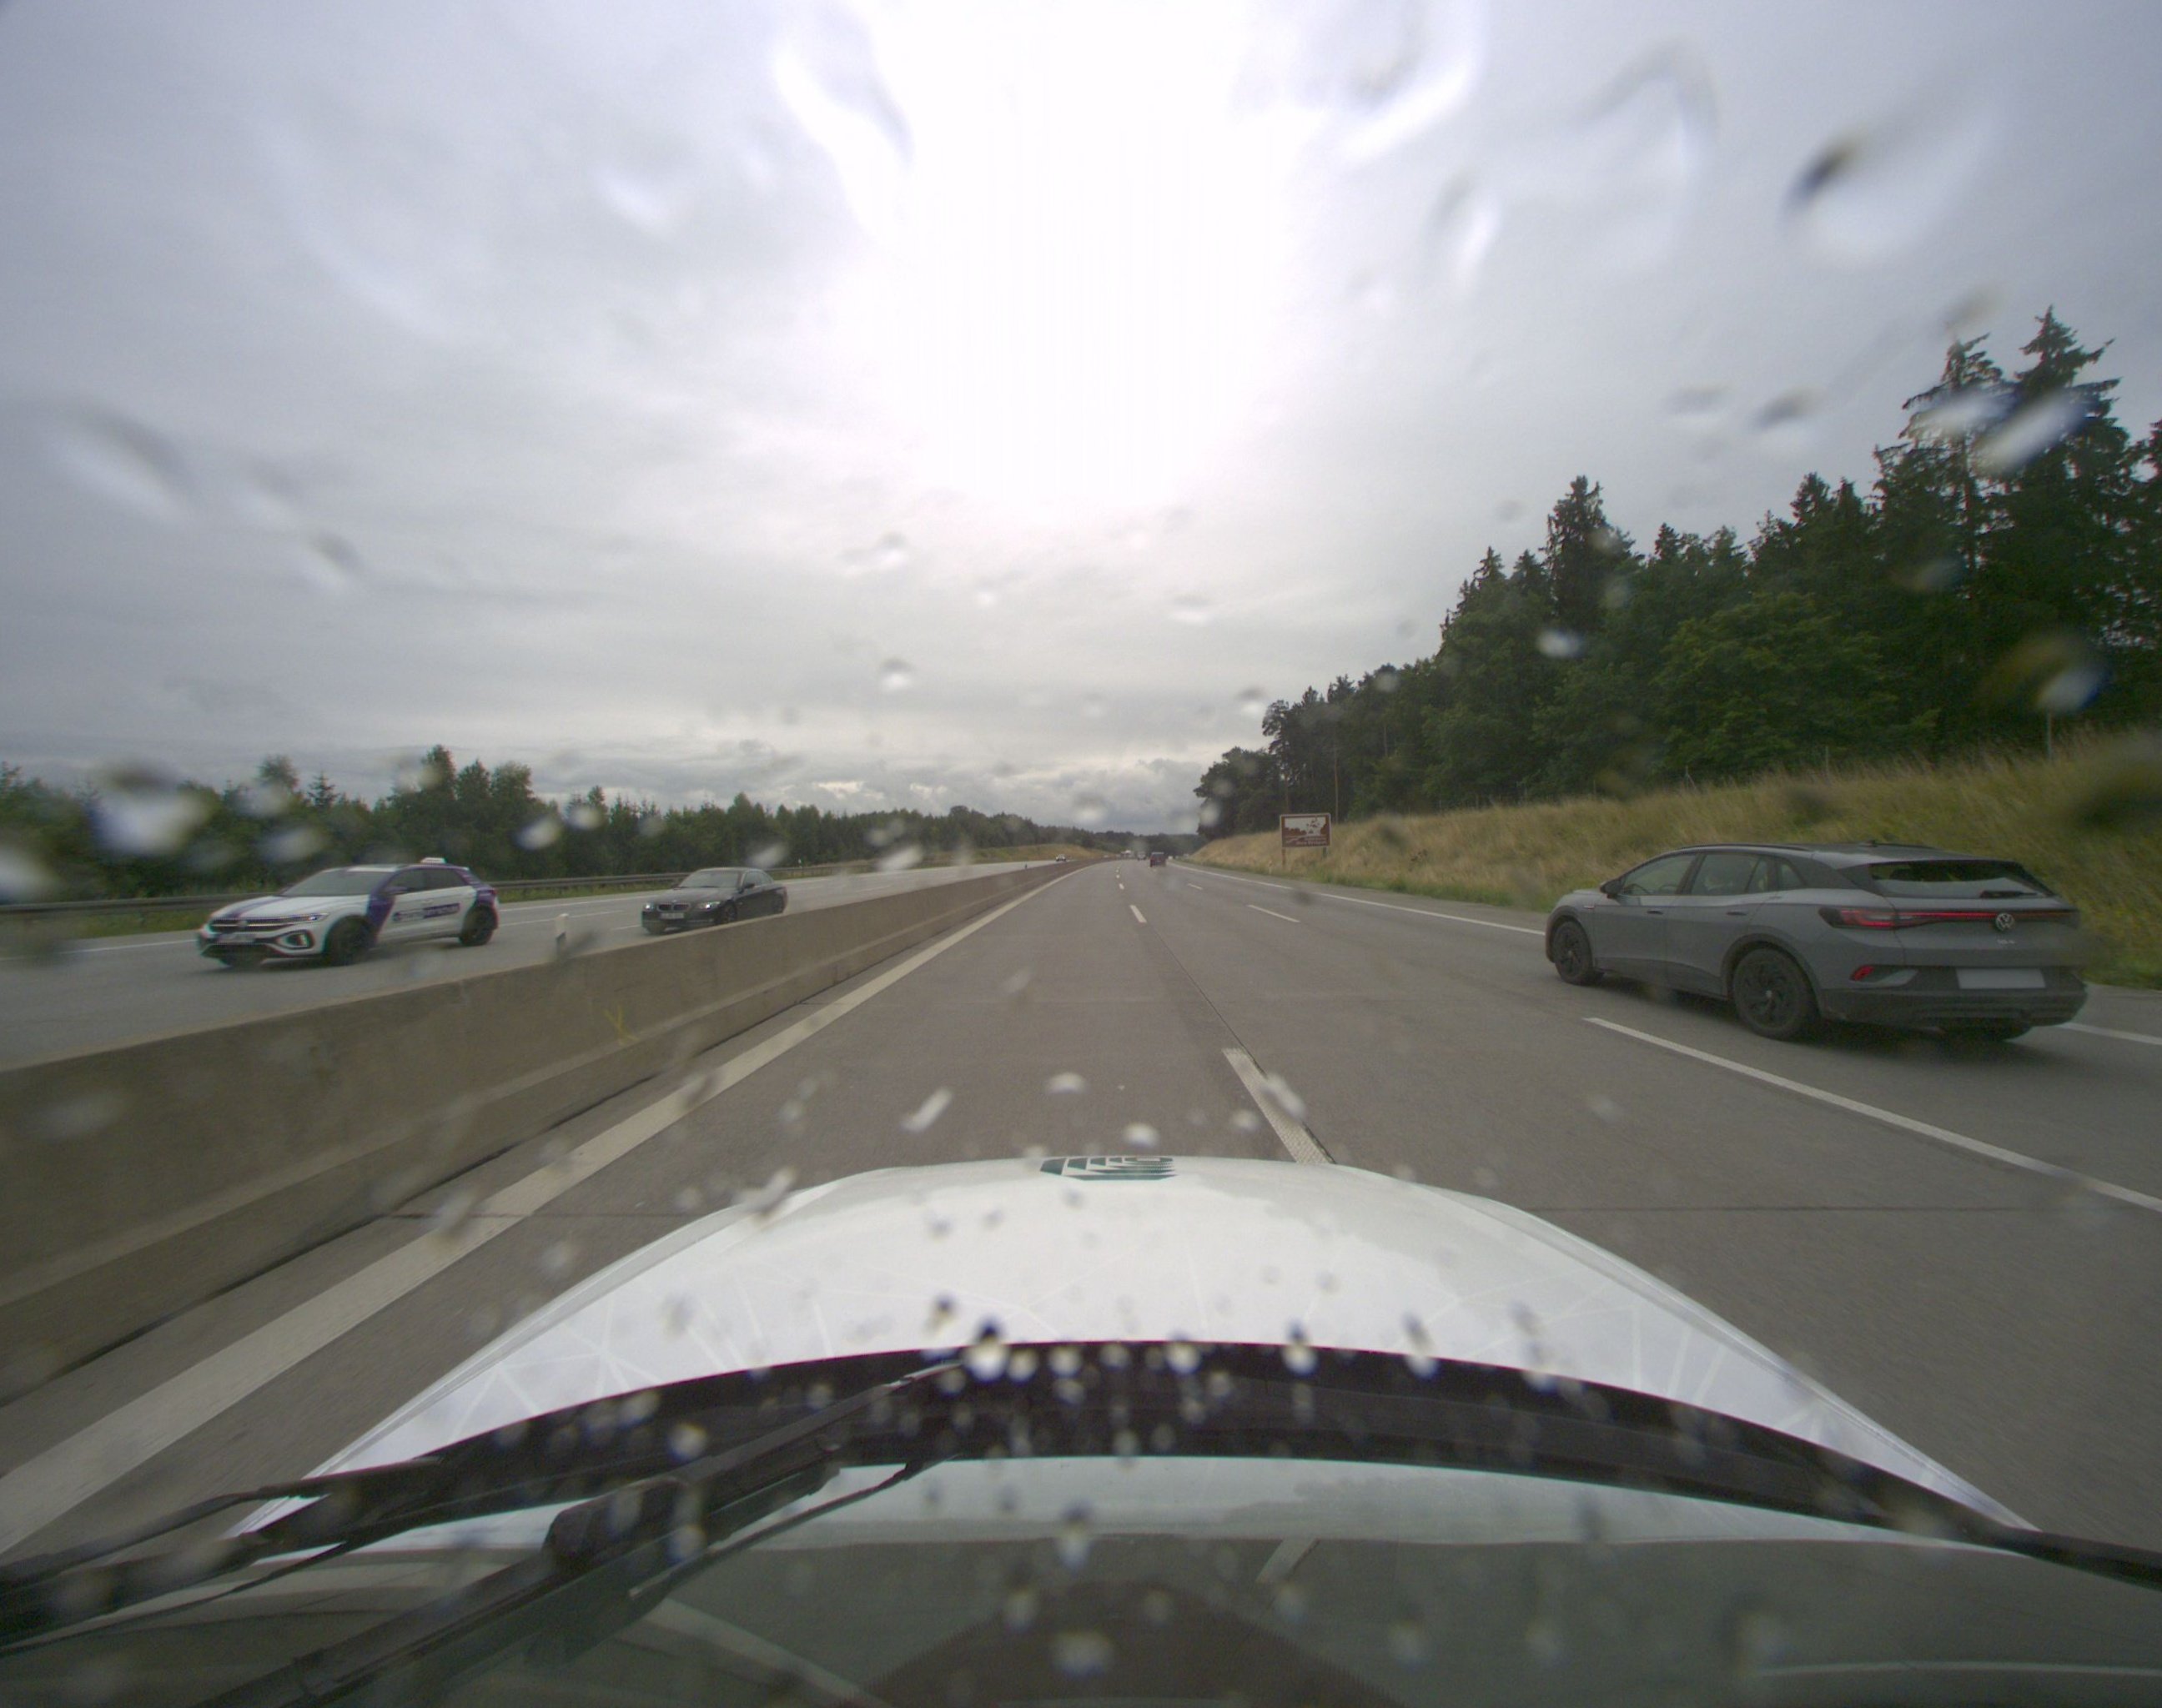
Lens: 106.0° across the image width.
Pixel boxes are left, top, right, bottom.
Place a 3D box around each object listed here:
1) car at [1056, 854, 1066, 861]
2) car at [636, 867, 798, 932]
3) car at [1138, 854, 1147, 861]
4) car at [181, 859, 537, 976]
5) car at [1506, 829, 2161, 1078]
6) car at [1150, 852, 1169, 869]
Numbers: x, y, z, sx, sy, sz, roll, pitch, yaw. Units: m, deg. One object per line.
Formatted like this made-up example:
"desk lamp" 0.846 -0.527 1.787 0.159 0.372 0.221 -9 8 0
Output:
"car" -4.118 0.695 165.685 1.761 1.232 3.957 0 1 2
"car" -8.280 1.028 19.022 1.757 1.267 4.491 -2 -2 -1
"car" 14.387 0.783 191.469 1.834 1.500 4.003 -4 1 2
"car" -11.947 0.918 14.054 1.756 1.586 4.760 0 1 2
"car" 6.546 0.637 8.182 1.891 1.689 5.267 0 1 1
"car" 9.144 0.714 95.370 1.779 1.746 3.915 -4 1 0
